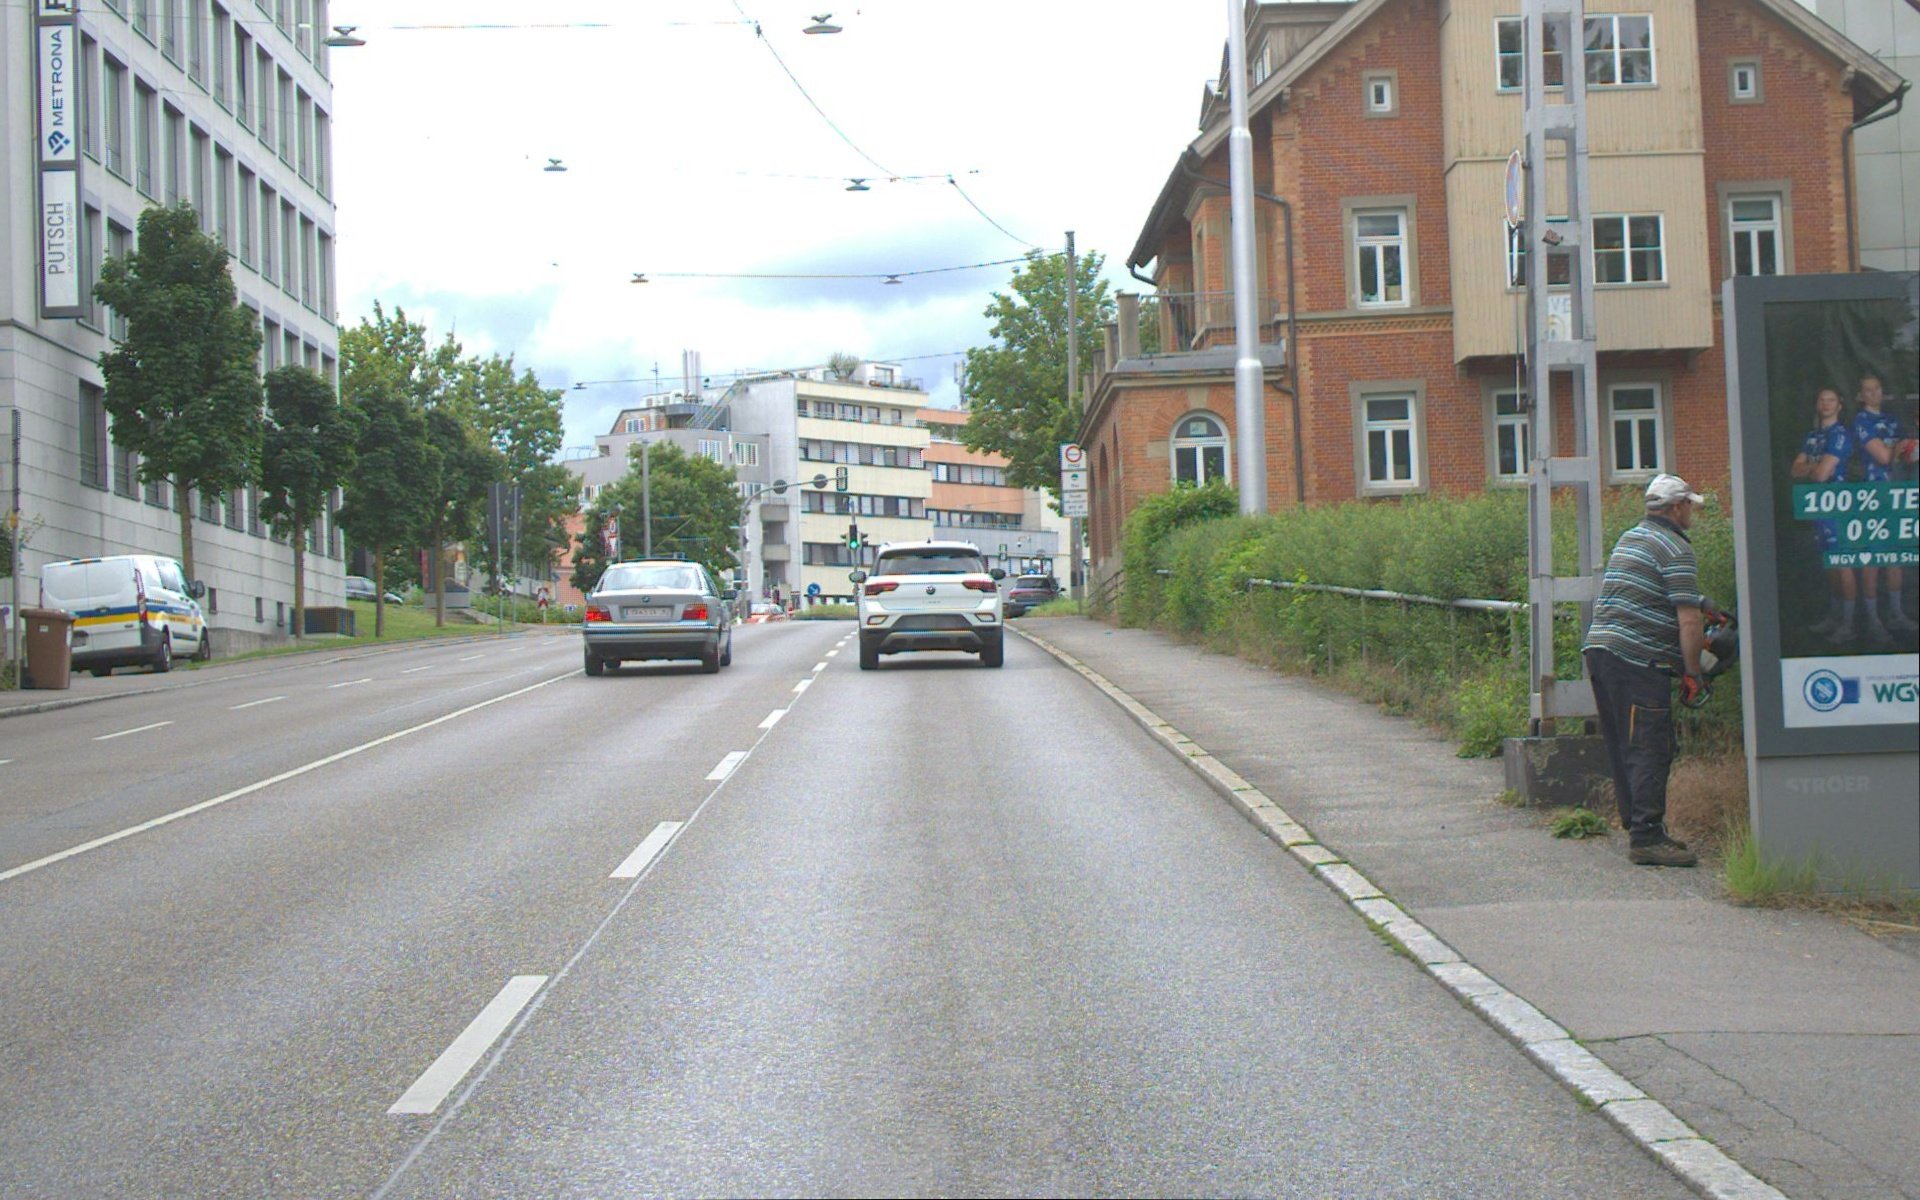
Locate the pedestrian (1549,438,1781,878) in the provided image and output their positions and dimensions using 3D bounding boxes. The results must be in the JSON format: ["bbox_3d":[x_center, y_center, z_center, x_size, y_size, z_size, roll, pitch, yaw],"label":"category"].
[{"bbox_3d":[3.150,0.244,15.437,0.812,1.878,0.948,-3,1,4],"label":"pedestrian"}]

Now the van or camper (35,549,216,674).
[{"bbox_3d":[-14.087,0.152,58.301,2.060,1.961,4.873,-2,1,-3],"label":"van or camper"}]

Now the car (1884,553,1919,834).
[{"bbox_3d":[7.009,0.552,18.754,3.487,1.536,1.577,1,1,1],"label":"car"}]

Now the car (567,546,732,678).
[{"bbox_3d":[-3.799,0.108,42.602,1.700,1.511,3.736,-2,1,-1],"label":"car"}]

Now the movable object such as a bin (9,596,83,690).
[{"bbox_3d":[-12.009,0.558,45.172,0.810,1.185,0.699,2,0,-6],"label":"movable object such as a bin"}]

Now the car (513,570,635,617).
[{"bbox_3d":[-13.405,-0.224,119.511,1.780,1.539,3.990,-2,-1,44],"label":"car"}]

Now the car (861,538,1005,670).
[{"bbox_3d":[-0.343,0.017,43.110,1.699,1.543,3.736,1,1,-1],"label":"car"}]
